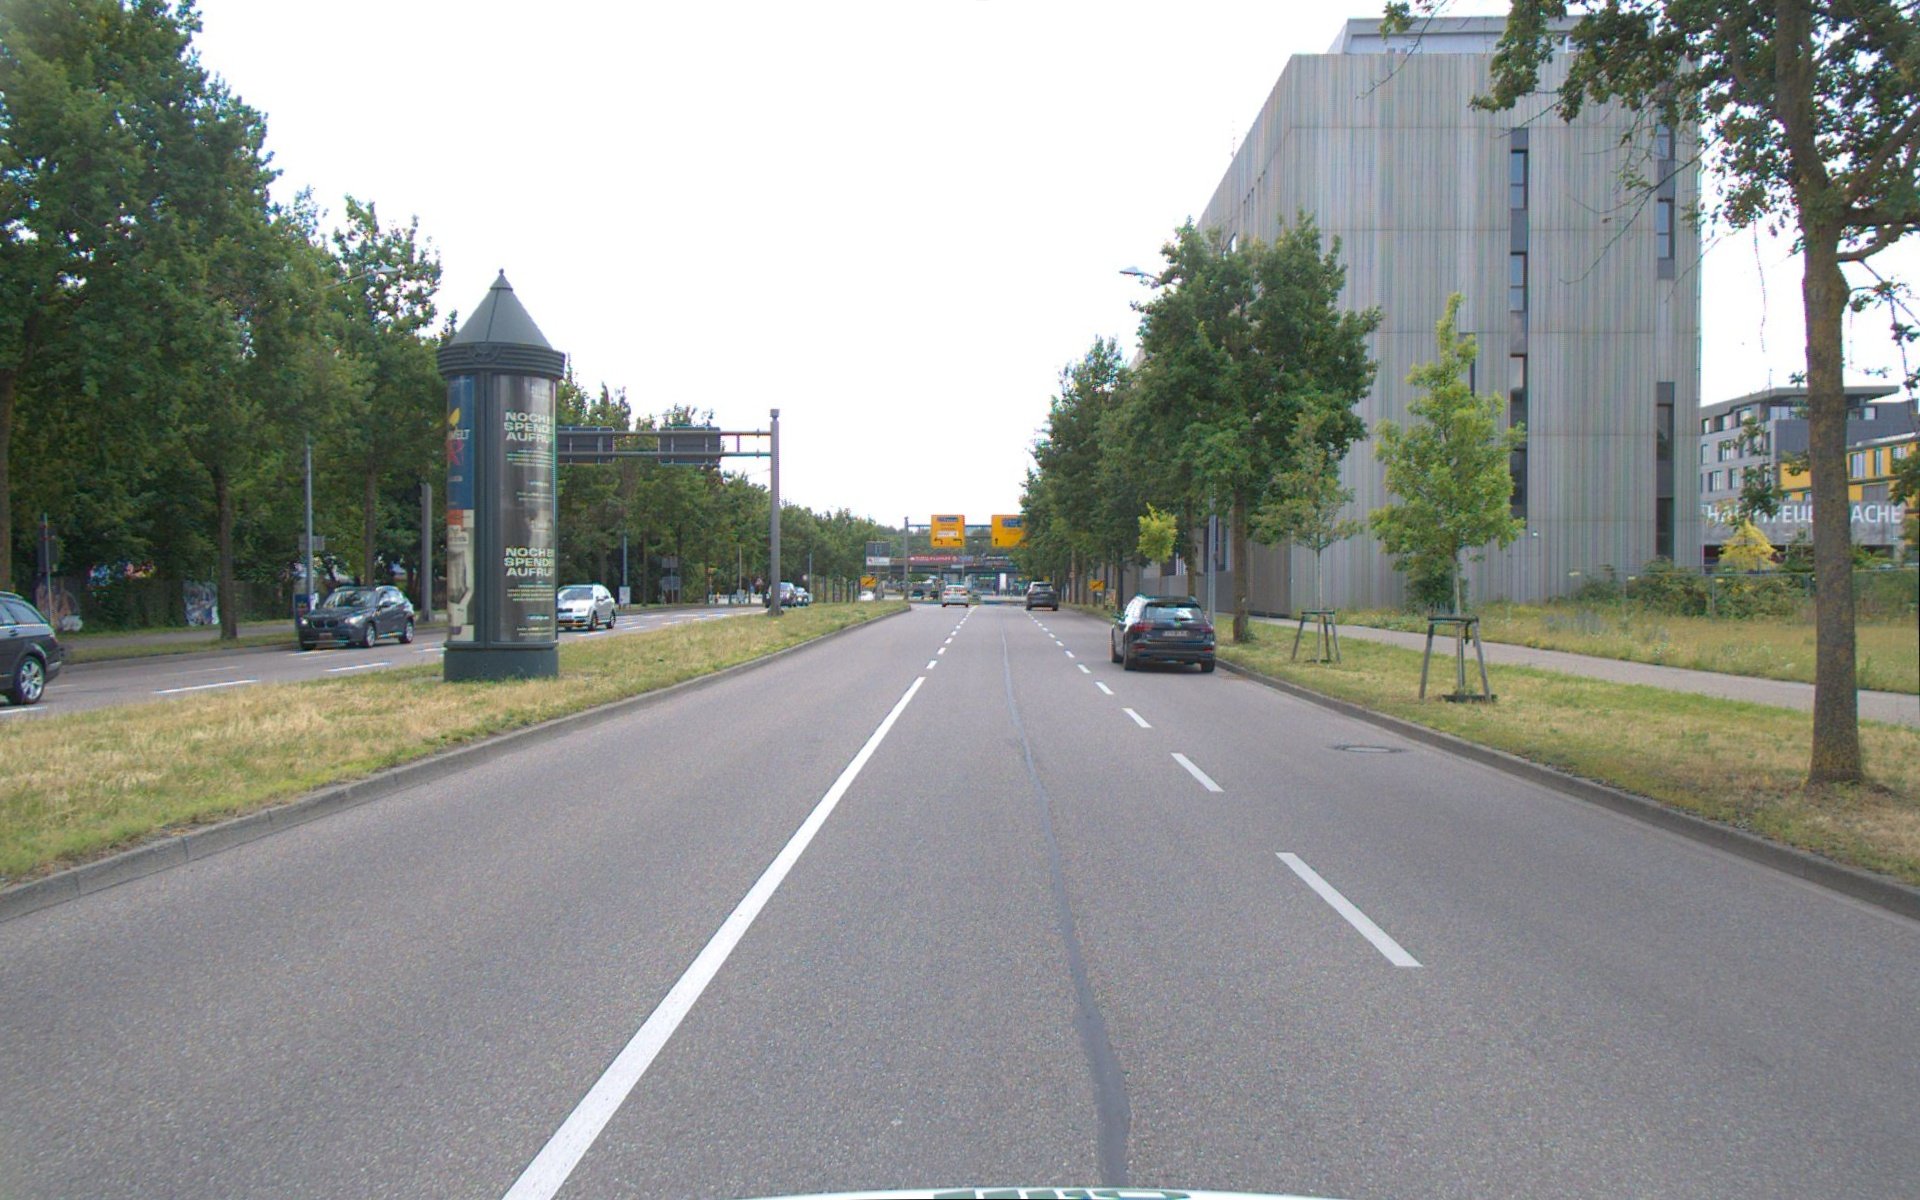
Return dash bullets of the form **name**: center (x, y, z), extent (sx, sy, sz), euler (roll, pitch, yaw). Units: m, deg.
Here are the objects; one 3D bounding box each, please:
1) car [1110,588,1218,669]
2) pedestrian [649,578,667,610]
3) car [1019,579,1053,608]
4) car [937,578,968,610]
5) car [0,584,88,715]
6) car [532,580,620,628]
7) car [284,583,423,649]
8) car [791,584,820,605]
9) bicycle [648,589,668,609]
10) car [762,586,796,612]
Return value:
- **car**: center (4.013, 0.536, 33.077), extent (1.649, 1.489, 4.000), euler (1, 0, 0)
- **pedestrian**: center (-19.366, -0.389, 106.079), extent (0.950, 2.049, 1.249), euler (0, 0, 0)
- **car**: center (4.472, -0.425, 96.829), extent (1.952, 1.654, 4.311), euler (0, 1, 3)
- **car**: center (-0.519, -0.381, 109.281), extent (1.953, 2.049, 3.999), euler (1, 0, -2)
- **car**: center (-12.724, 0.624, 19.930), extent (1.687, 1.618, 5.014), euler (-1, 1, 1)
- **car**: center (-12.274, 0.111, 53.114), extent (1.727, 1.465, 4.310), euler (-1, 1, 1)
- **car**: center (-15.702, 0.363, 43.118), extent (1.727, 1.604, 5.032), euler (-1, 1, 0)
- **car**: center (-12.129, -0.418, 129.851), extent (1.705, 1.572, 4.574), euler (-1, 1, 1)
- **bicycle**: center (-19.343, -0.052, 105.965), extent (0.791, 1.248, 2.502), euler (0, 0, 2)
- **car**: center (-11.574, -0.086, 106.003), extent (1.706, 1.596, 4.275), euler (-1, 1, -1)
